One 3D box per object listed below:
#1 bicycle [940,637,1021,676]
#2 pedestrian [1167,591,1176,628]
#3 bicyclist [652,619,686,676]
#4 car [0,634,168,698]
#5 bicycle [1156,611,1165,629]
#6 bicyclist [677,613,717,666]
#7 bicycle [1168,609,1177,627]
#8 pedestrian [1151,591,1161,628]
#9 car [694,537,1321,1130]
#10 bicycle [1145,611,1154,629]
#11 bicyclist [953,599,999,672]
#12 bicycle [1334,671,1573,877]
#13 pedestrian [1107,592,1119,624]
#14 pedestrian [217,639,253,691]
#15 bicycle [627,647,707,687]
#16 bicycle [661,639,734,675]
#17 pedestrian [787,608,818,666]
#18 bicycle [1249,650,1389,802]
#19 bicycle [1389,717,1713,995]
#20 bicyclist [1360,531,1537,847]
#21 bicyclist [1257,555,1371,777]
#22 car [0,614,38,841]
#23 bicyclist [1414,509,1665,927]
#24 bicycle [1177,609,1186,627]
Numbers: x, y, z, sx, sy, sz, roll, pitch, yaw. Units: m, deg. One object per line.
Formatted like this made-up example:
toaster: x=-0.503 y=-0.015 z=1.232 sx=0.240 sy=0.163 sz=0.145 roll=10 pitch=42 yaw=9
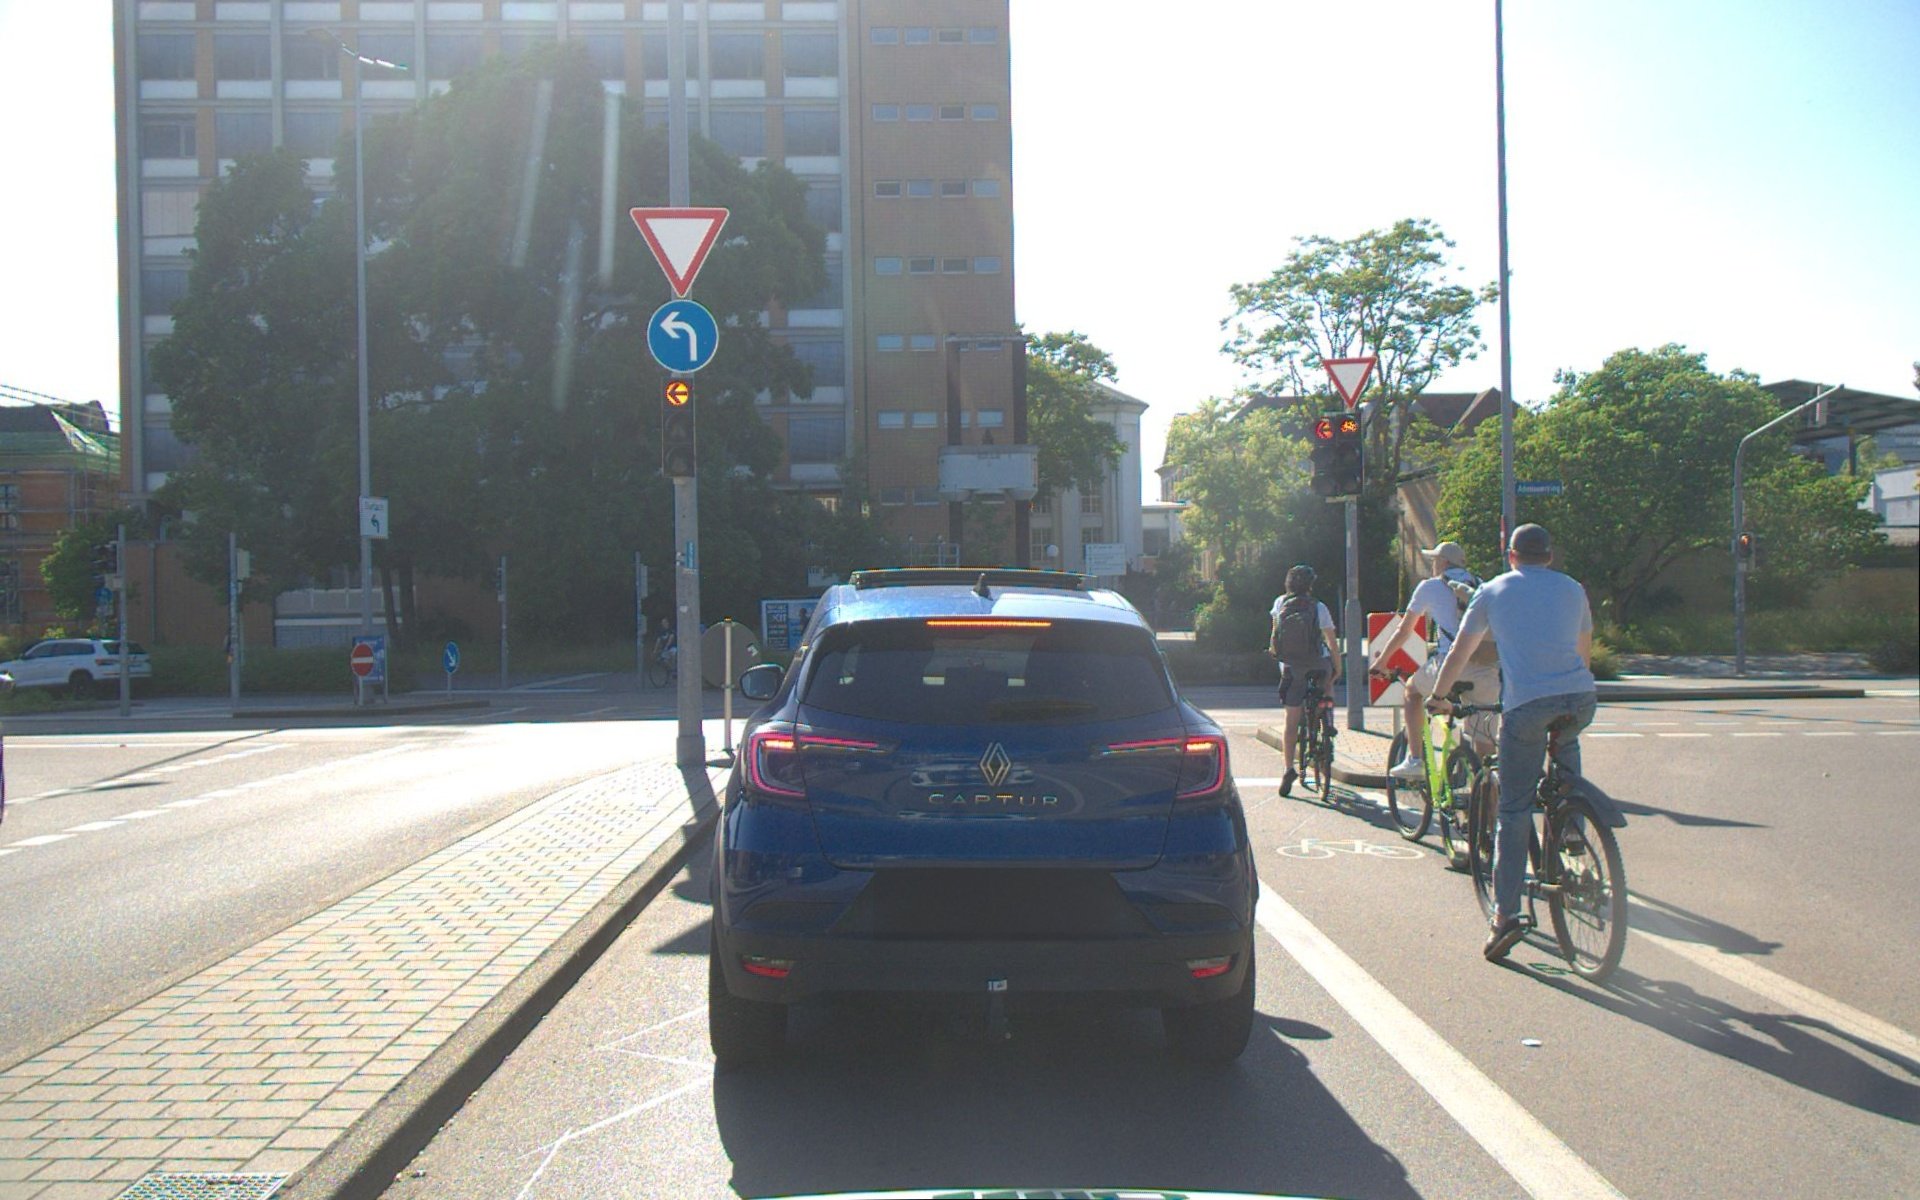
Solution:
bicycle: x=0.537 y=1.491 z=43.880 sx=2.037 sy=0.946 sz=0.697 roll=-2 pitch=1 yaw=11
pedestrian: x=11.825 y=0.538 z=92.559 sx=0.465 sy=2.049 sz=0.468 roll=-1 pitch=0 yaw=5
bicyclist: x=-7.673 y=1.239 z=43.642 sx=0.728 sy=1.466 sz=0.593 roll=-1 pitch=0 yaw=-27
car: x=-24.494 y=1.813 z=45.627 sx=4.721 sy=1.660 sz=1.845 roll=-1 pitch=0 yaw=16
bicycle: x=11.402 y=1.154 z=94.185 sx=0.397 sy=0.990 sz=1.684 roll=1 pitch=0 yaw=3
bicyclist: x=-7.426 y=1.115 z=46.747 sx=0.917 sy=1.454 sz=0.598 roll=-1 pitch=0 yaw=23
bicycle: x=12.154 y=1.022 z=94.564 sx=0.397 sy=0.990 sz=1.684 roll=1 pitch=0 yaw=3
pedestrian: x=10.795 y=0.515 z=91.192 sx=0.465 sy=2.049 sz=0.523 roll=-1 pitch=0 yaw=5
car: x=0.060 y=0.665 z=6.678 sx=1.767 sy=1.660 sz=3.998 roll=1 pitch=0 yaw=-3
bicycle: x=10.793 y=1.144 z=94.219 sx=0.397 sy=0.990 sz=1.684 roll=1 pitch=0 yaw=3
bicyclist: x=0.428 y=0.944 z=43.743 sx=1.078 sy=1.900 sz=0.653 roll=-1 pitch=0 yaw=10
bicycle: x=2.870 y=0.975 z=9.841 sx=0.646 sy=1.020 sz=1.967 roll=1 pitch=0 yaw=-6
pedestrian: x=9.013 y=0.462 z=97.643 sx=0.611 sy=1.888 sz=0.563 roll=-1 pitch=0 yaw=0
pedestrian: x=-23.295 y=2.098 z=53.154 sx=0.842 sy=1.598 sz=0.559 roll=-4 pitch=0 yaw=18
bicycle: x=-7.721 y=1.762 z=43.615 sx=1.982 sy=0.981 sz=0.593 roll=-1 pitch=0 yaw=-28
bicycle: x=-7.416 y=1.602 z=46.745 sx=2.034 sy=0.981 sz=0.598 roll=-1 pitch=0 yaw=23
pedestrian: x=-4.480 y=1.044 z=47.122 sx=0.721 sy=1.631 sz=0.599 roll=-1 pitch=0 yaw=12
bicycle: x=2.760 y=0.933 z=12.920 sx=0.723 sy=1.012 sz=2.174 roll=1 pitch=0 yaw=3
bicycle: x=2.502 y=1.041 z=7.270 sx=0.725 sy=0.911 sz=1.978 roll=1 pitch=0 yaw=0
bicyclist: x=2.881 y=0.507 z=9.838 sx=0.633 sy=1.769 sz=1.065 roll=1 pitch=0 yaw=-6
bicyclist: x=2.758 y=0.498 z=12.971 sx=0.711 sy=1.657 sz=0.969 roll=1 pitch=0 yaw=3
car: x=-8.284 y=0.938 z=12.739 sx=1.792 sy=1.531 sz=4.742 roll=-3 pitch=0 yaw=-27
bicyclist: x=2.507 y=0.483 z=7.267 sx=0.736 sy=1.698 sz=1.016 roll=1 pitch=0 yaw=0
bicycle: x=12.678 y=1.031 z=94.586 sx=0.397 sy=0.990 sz=1.684 roll=1 pitch=0 yaw=3
